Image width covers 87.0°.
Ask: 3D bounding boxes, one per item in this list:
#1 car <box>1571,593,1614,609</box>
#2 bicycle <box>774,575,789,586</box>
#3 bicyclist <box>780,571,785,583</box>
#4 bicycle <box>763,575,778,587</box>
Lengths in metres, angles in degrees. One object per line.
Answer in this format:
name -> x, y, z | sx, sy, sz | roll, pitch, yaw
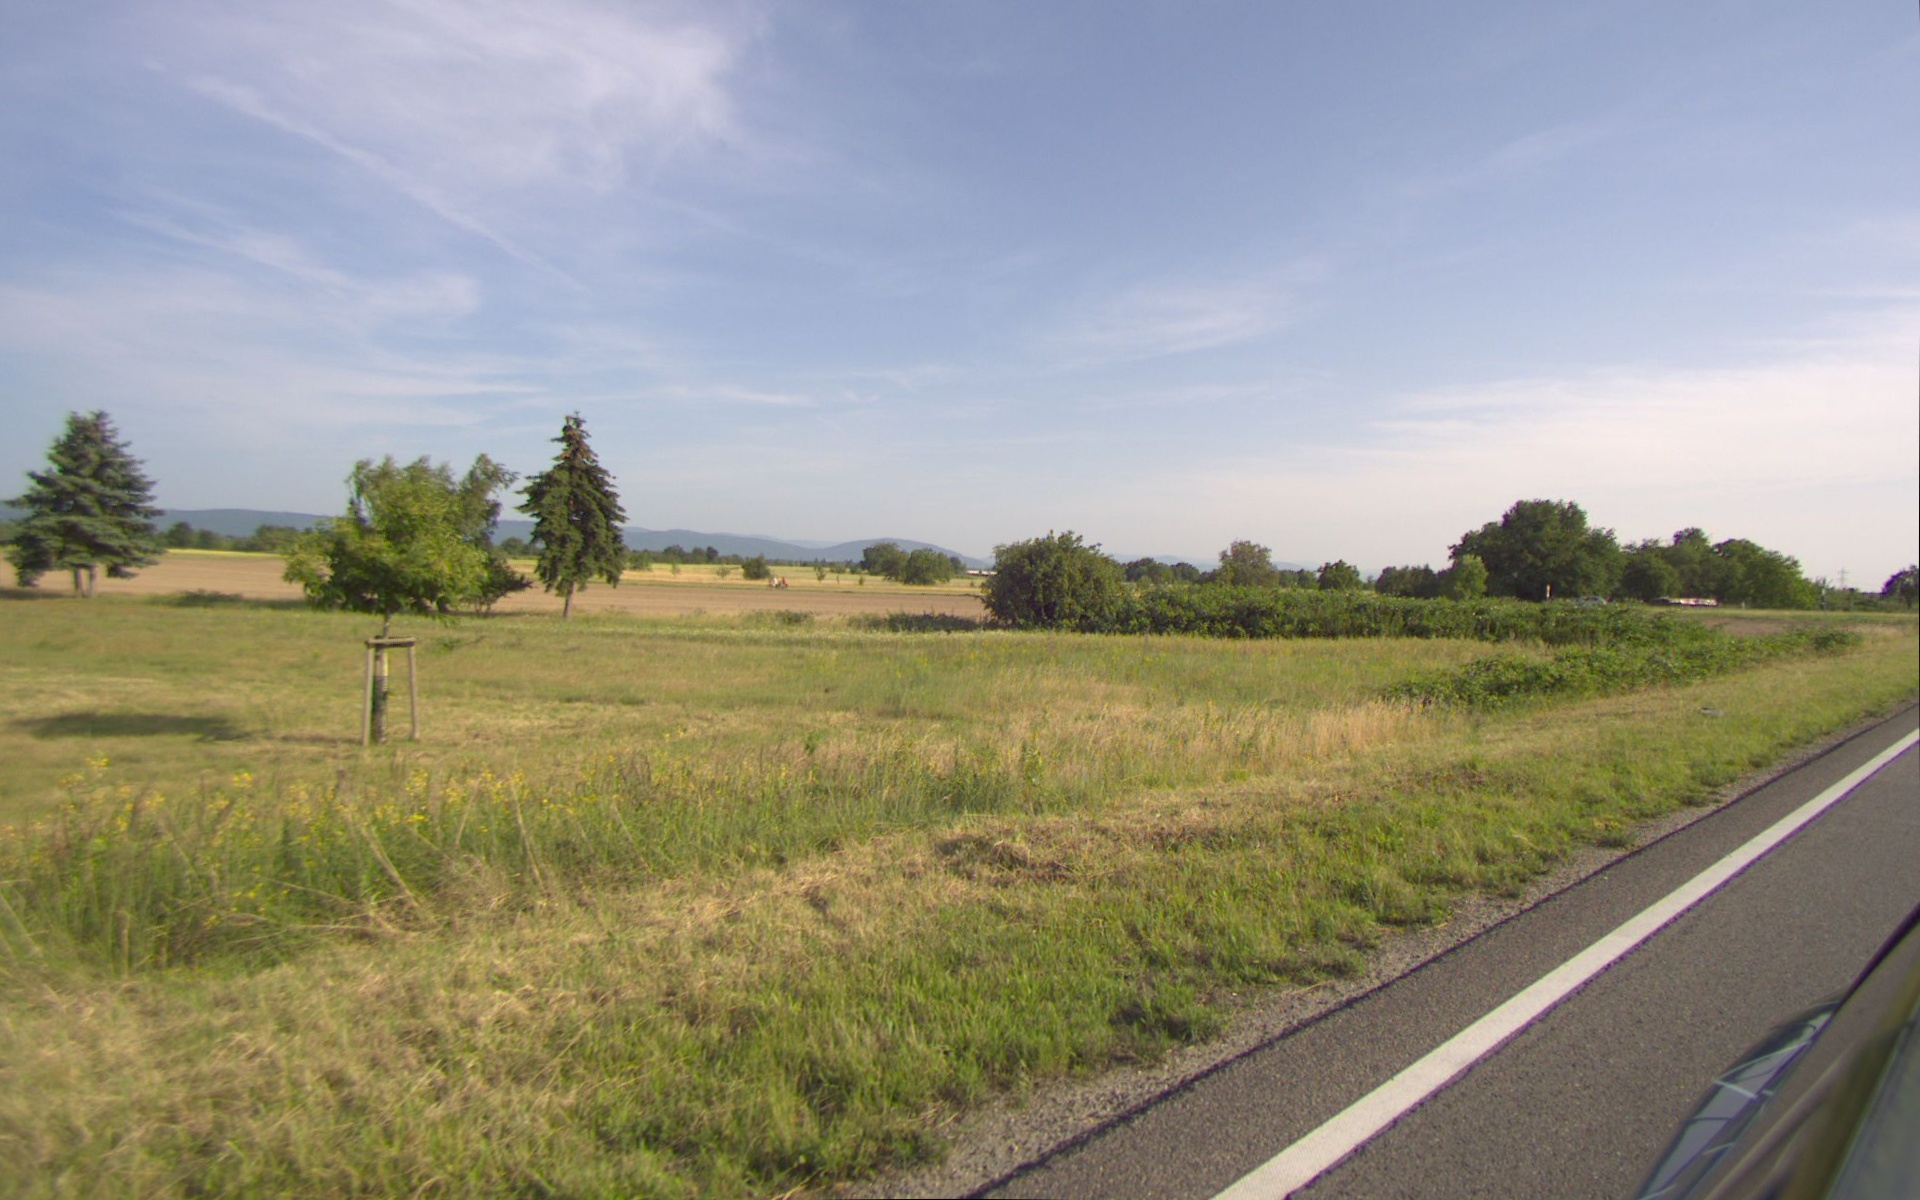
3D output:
car -> 70.112, 0.118, 112.118 | 3.973, 1.672, 1.975 | 0, 0, 35
bicycle -> -24.620, -2.668, 139.861 | 1.941, 1.550, 0.503 | 0, 0, 3
bicyclist -> -24.486, -3.225, 139.855 | 0.540, 1.617, 0.487 | 0, 0, 2
bicycle -> -26.011, -2.630, 138.829 | 1.941, 1.550, 0.503 | 0, 0, 3
